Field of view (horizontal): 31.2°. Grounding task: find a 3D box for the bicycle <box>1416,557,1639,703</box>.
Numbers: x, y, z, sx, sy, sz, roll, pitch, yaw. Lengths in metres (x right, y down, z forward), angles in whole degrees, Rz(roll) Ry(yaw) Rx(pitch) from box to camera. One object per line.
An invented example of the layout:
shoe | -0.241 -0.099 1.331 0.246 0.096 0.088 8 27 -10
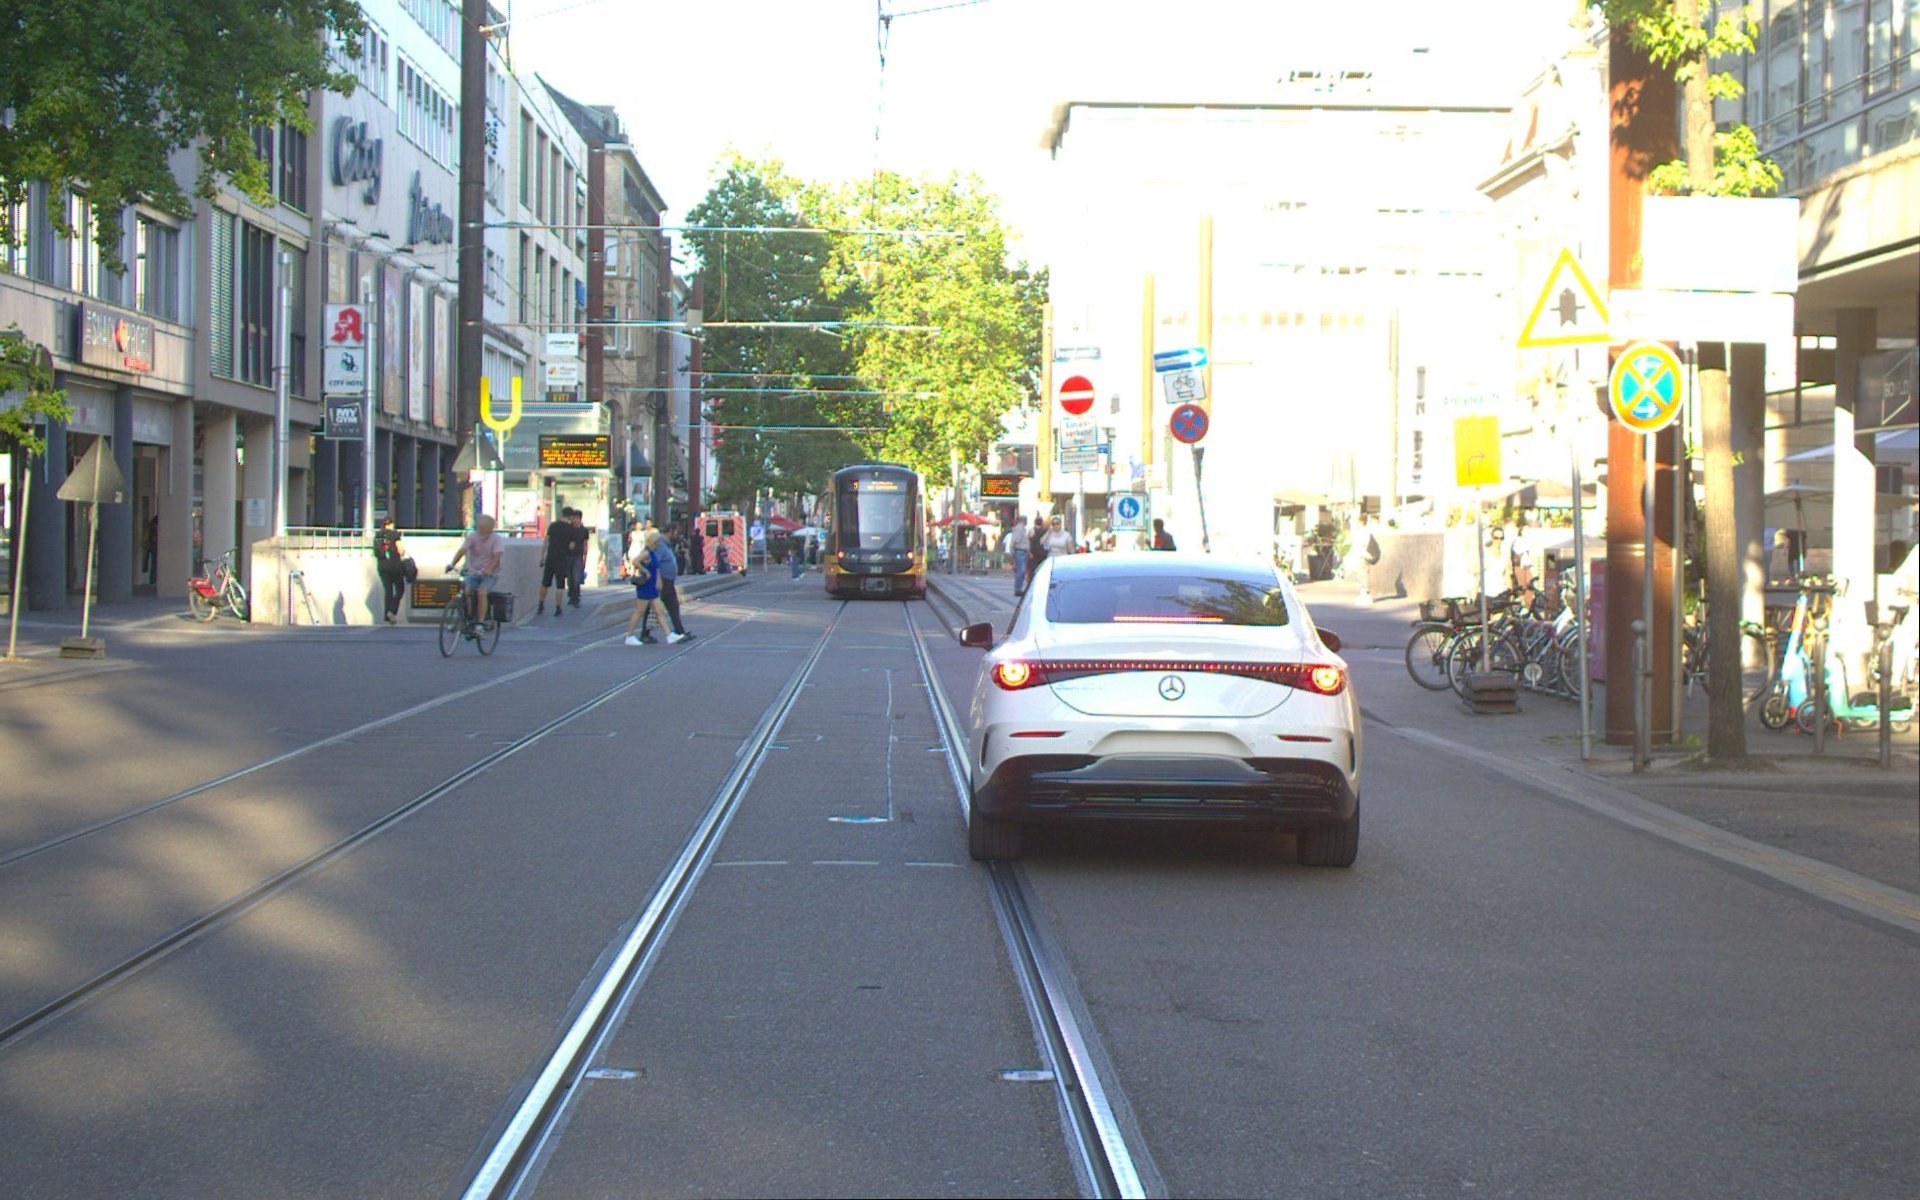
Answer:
bicycle | 5.224 0.264 31.676 1.907 1.277 0.610 -2 1 -12

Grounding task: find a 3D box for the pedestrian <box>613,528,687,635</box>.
pedestrian | -4.367 -0.267 48.422 0.955 1.491 0.944 0 1 0

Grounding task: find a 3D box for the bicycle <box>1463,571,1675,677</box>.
bicycle | 6.412 0.249 36.209 2.113 1.092 0.610 0 1 -12

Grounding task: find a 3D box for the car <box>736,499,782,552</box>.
car | -9.398 -3.500 161.265 1.910 2.452 5.275 0 1 -1

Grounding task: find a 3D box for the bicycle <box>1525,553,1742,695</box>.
bicycle | 6.383 0.220 32.596 1.907 1.277 0.610 -2 1 -12

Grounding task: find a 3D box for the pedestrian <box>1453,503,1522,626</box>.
pedestrian | 7.736 -0.527 50.452 0.840 1.779 0.804 -1 1 -1

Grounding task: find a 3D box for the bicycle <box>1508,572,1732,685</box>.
bicycle | 6.528 0.271 34.011 2.113 1.092 0.610 0 1 -14

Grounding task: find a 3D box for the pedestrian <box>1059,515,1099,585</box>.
pedestrian | 3.062 -1.293 88.689 0.960 1.779 0.804 -1 1 -1

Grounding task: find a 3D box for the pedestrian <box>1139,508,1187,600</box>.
pedestrian | 3.681 -0.837 62.421 0.838 1.656 0.785 0 1 1

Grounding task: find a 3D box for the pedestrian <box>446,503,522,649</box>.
pedestrian | -5.936 -0.302 42.910 0.800 1.776 0.849 2 1 -2

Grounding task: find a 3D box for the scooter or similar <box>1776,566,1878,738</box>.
scooter or similar | 6.602 0.386 26.192 0.491 1.273 0.660 -2 1 -12

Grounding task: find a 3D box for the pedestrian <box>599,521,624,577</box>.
pedestrian | -9.919 -1.451 97.761 0.660 1.593 0.573 0 1 -2

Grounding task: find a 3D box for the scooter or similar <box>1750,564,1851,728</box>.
scooter or similar | 6.726 0.357 27.515 0.527 1.273 0.660 -2 1 -12

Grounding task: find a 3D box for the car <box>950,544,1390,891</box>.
car | 0.916 0.482 17.158 1.857 1.450 4.175 1 1 -1

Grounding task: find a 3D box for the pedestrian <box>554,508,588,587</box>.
pedestrian | -7.651 -1.035 67.660 0.615 1.539 0.651 0 1 -3

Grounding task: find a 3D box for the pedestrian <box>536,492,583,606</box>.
pedestrian | -6.789 -0.874 58.278 0.540 1.922 0.571 1 2 43

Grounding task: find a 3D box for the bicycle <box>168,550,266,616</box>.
bicycle | -11.729 -0.275 54.334 0.719 1.006 2.038 1 1 13

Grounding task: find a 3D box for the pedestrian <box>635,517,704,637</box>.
pedestrian | -4.162 -0.338 49.289 0.905 1.692 0.849 0 1 0

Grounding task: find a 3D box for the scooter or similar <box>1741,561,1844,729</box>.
scooter or similar | 6.503 0.342 26.862 0.527 1.273 0.660 -2 1 -12

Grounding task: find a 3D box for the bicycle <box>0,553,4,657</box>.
bicycle | -10.229 0.031 33.903 1.492 1.025 0.345 2 1 -11

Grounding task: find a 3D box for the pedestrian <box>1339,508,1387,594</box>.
pedestrian | 8.024 -0.973 68.435 0.817 1.679 0.804 -1 1 -1

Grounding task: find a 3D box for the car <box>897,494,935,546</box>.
car | -2.454 -4.520 193.711 2.099 2.887 5.285 0 1 -1

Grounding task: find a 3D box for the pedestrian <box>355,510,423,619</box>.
pedestrian | -9.060 -0.562 54.528 0.837 1.711 0.785 0 1 -29

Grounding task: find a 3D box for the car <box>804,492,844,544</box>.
car | -7.645 -4.591 193.325 2.099 2.887 5.275 0 1 -1

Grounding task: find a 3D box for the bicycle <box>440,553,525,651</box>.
bicycle | -5.952 0.009 42.974 0.800 1.138 2.257 2 1 -3

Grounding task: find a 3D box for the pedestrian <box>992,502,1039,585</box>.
pedestrian | 1.205 -1.226 74.805 0.960 1.779 0.804 -1 1 -1

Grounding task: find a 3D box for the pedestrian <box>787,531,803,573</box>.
pedestrian | -6.445 -1.885 134.240 0.604 1.624 0.531 0 1 -1

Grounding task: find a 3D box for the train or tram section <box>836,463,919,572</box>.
train or tram section | -2.777 -2.787 116.493 2.694 3.504 11.144 0 1 -1

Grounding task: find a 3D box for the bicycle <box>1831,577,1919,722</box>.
bicycle | 7.742 0.392 28.588 0.564 1.124 1.929 -1 1 2

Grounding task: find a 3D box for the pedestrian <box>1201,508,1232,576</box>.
pedestrian | 6.839 -1.550 91.744 0.727 1.779 0.708 1 1 -1

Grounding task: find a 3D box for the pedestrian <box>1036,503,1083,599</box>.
pedestrian | 1.785 -0.883 61.653 0.746 1.692 0.840 0 1 -4

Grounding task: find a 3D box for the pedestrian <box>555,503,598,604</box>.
pedestrian | -6.711 -0.809 60.142 0.550 1.754 0.520 1 1 27

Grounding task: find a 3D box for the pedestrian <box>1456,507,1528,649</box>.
pedestrian | 6.804 -0.286 43.995 0.748 1.779 0.767 -1 1 -1

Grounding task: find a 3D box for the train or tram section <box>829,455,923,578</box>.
train or tram section | -2.536 -2.523 104.656 2.694 3.504 12.546 0 1 -1

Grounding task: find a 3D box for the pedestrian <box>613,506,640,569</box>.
pedestrian | -8.556 -1.604 88.232 0.660 1.593 0.573 0 1 -2

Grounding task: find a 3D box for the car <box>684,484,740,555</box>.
car | -10.262 -3.348 142.483 1.993 2.887 5.275 0 1 -1

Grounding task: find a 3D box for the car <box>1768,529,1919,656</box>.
car | 11.755 -0.097 40.929 3.801 1.468 1.649 0 1 -6

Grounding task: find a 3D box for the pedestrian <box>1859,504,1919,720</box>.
pedestrian | 8.012 0.081 28.401 0.899 1.738 0.690 -3 1 -1

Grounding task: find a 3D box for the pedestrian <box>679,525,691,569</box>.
pedestrian | -10.224 -1.983 127.776 0.414 1.624 0.606 0 1 -1

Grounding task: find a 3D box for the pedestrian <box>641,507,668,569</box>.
pedestrian | -7.839 -1.596 88.318 0.660 1.593 0.573 0 1 -2

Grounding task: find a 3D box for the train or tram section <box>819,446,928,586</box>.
train or tram section | -2.289 -2.237 92.107 2.694 3.504 12.546 0 1 -1

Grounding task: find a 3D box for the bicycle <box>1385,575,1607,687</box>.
bicycle | 5.401 0.314 34.665 2.113 1.092 0.610 1 1 -12

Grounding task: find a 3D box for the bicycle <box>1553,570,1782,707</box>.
bicycle | 6.345 0.337 30.863 1.907 1.152 0.610 -2 1 -12
